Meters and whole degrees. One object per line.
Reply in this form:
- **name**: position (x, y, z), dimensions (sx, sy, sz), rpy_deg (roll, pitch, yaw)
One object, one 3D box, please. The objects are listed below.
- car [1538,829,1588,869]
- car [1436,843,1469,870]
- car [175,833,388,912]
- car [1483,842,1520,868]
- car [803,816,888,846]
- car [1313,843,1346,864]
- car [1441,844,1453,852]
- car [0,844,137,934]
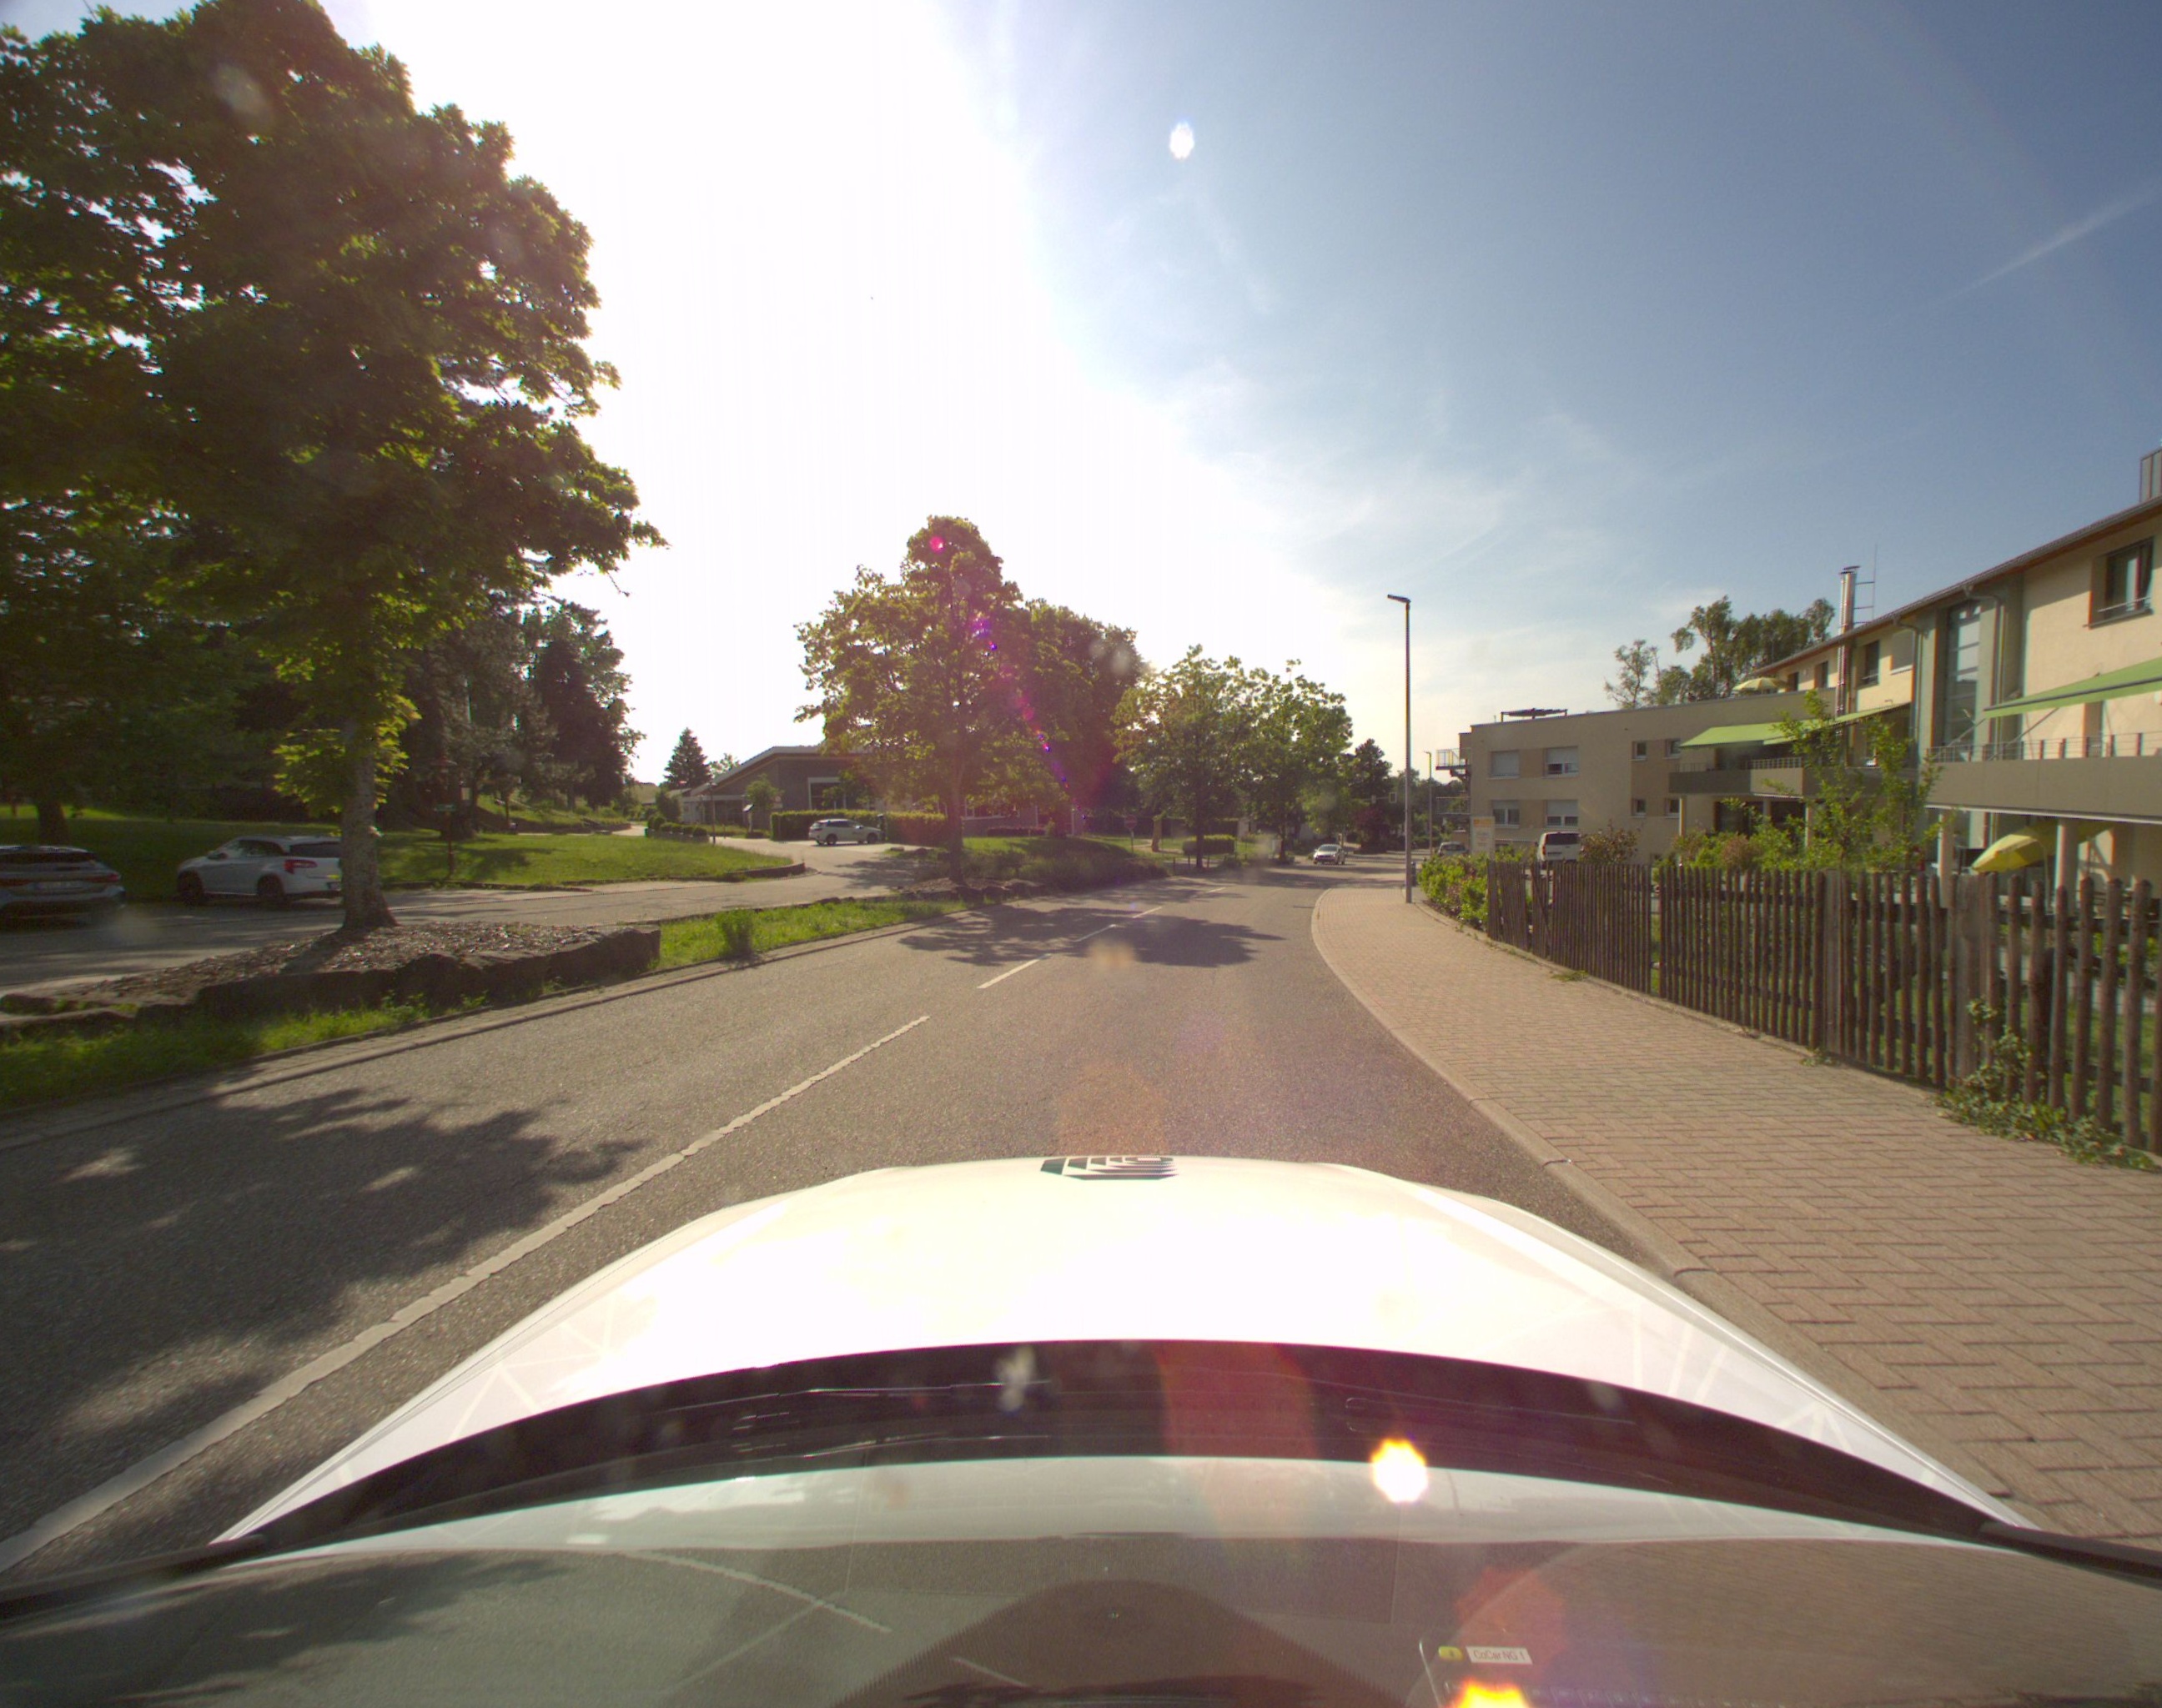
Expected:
- **car**: position (24.674, -0.257, 41.828), dimensions (1.787, 1.935, 4.762), rpy_deg (0, 1, 25)
- **car**: position (21.869, 0.101, 47.950), dimensions (1.692, 1.535, 4.030), rpy_deg (0, 1, 25)
- **car**: position (-18.091, 0.364, 18.458), dimensions (3.898, 1.609, 1.784), rpy_deg (1, 1, 17)
- **car**: position (23.638, 0.033, 45.861), dimensions (1.692, 1.427, 4.030), rpy_deg (0, 1, 25)
- **car**: position (-14.774, -1.491, 51.300), dimensions (4.755, 1.533, 1.978), rpy_deg (-4, 8, -39)
- **car**: position (18.467, -0.062, 60.381), dimensions (1.713, 1.443, 4.089), rpy_deg (1, 2, 25)
- **car**: position (68.975, -1.128, 153.350), dimensions (1.692, 1.427, 4.032), rpy_deg (0, 1, 29)
- **car**: position (-19.194, 0.559, 14.660), dimensions (3.669, 1.433, 1.786), rpy_deg (1, 1, 22)
